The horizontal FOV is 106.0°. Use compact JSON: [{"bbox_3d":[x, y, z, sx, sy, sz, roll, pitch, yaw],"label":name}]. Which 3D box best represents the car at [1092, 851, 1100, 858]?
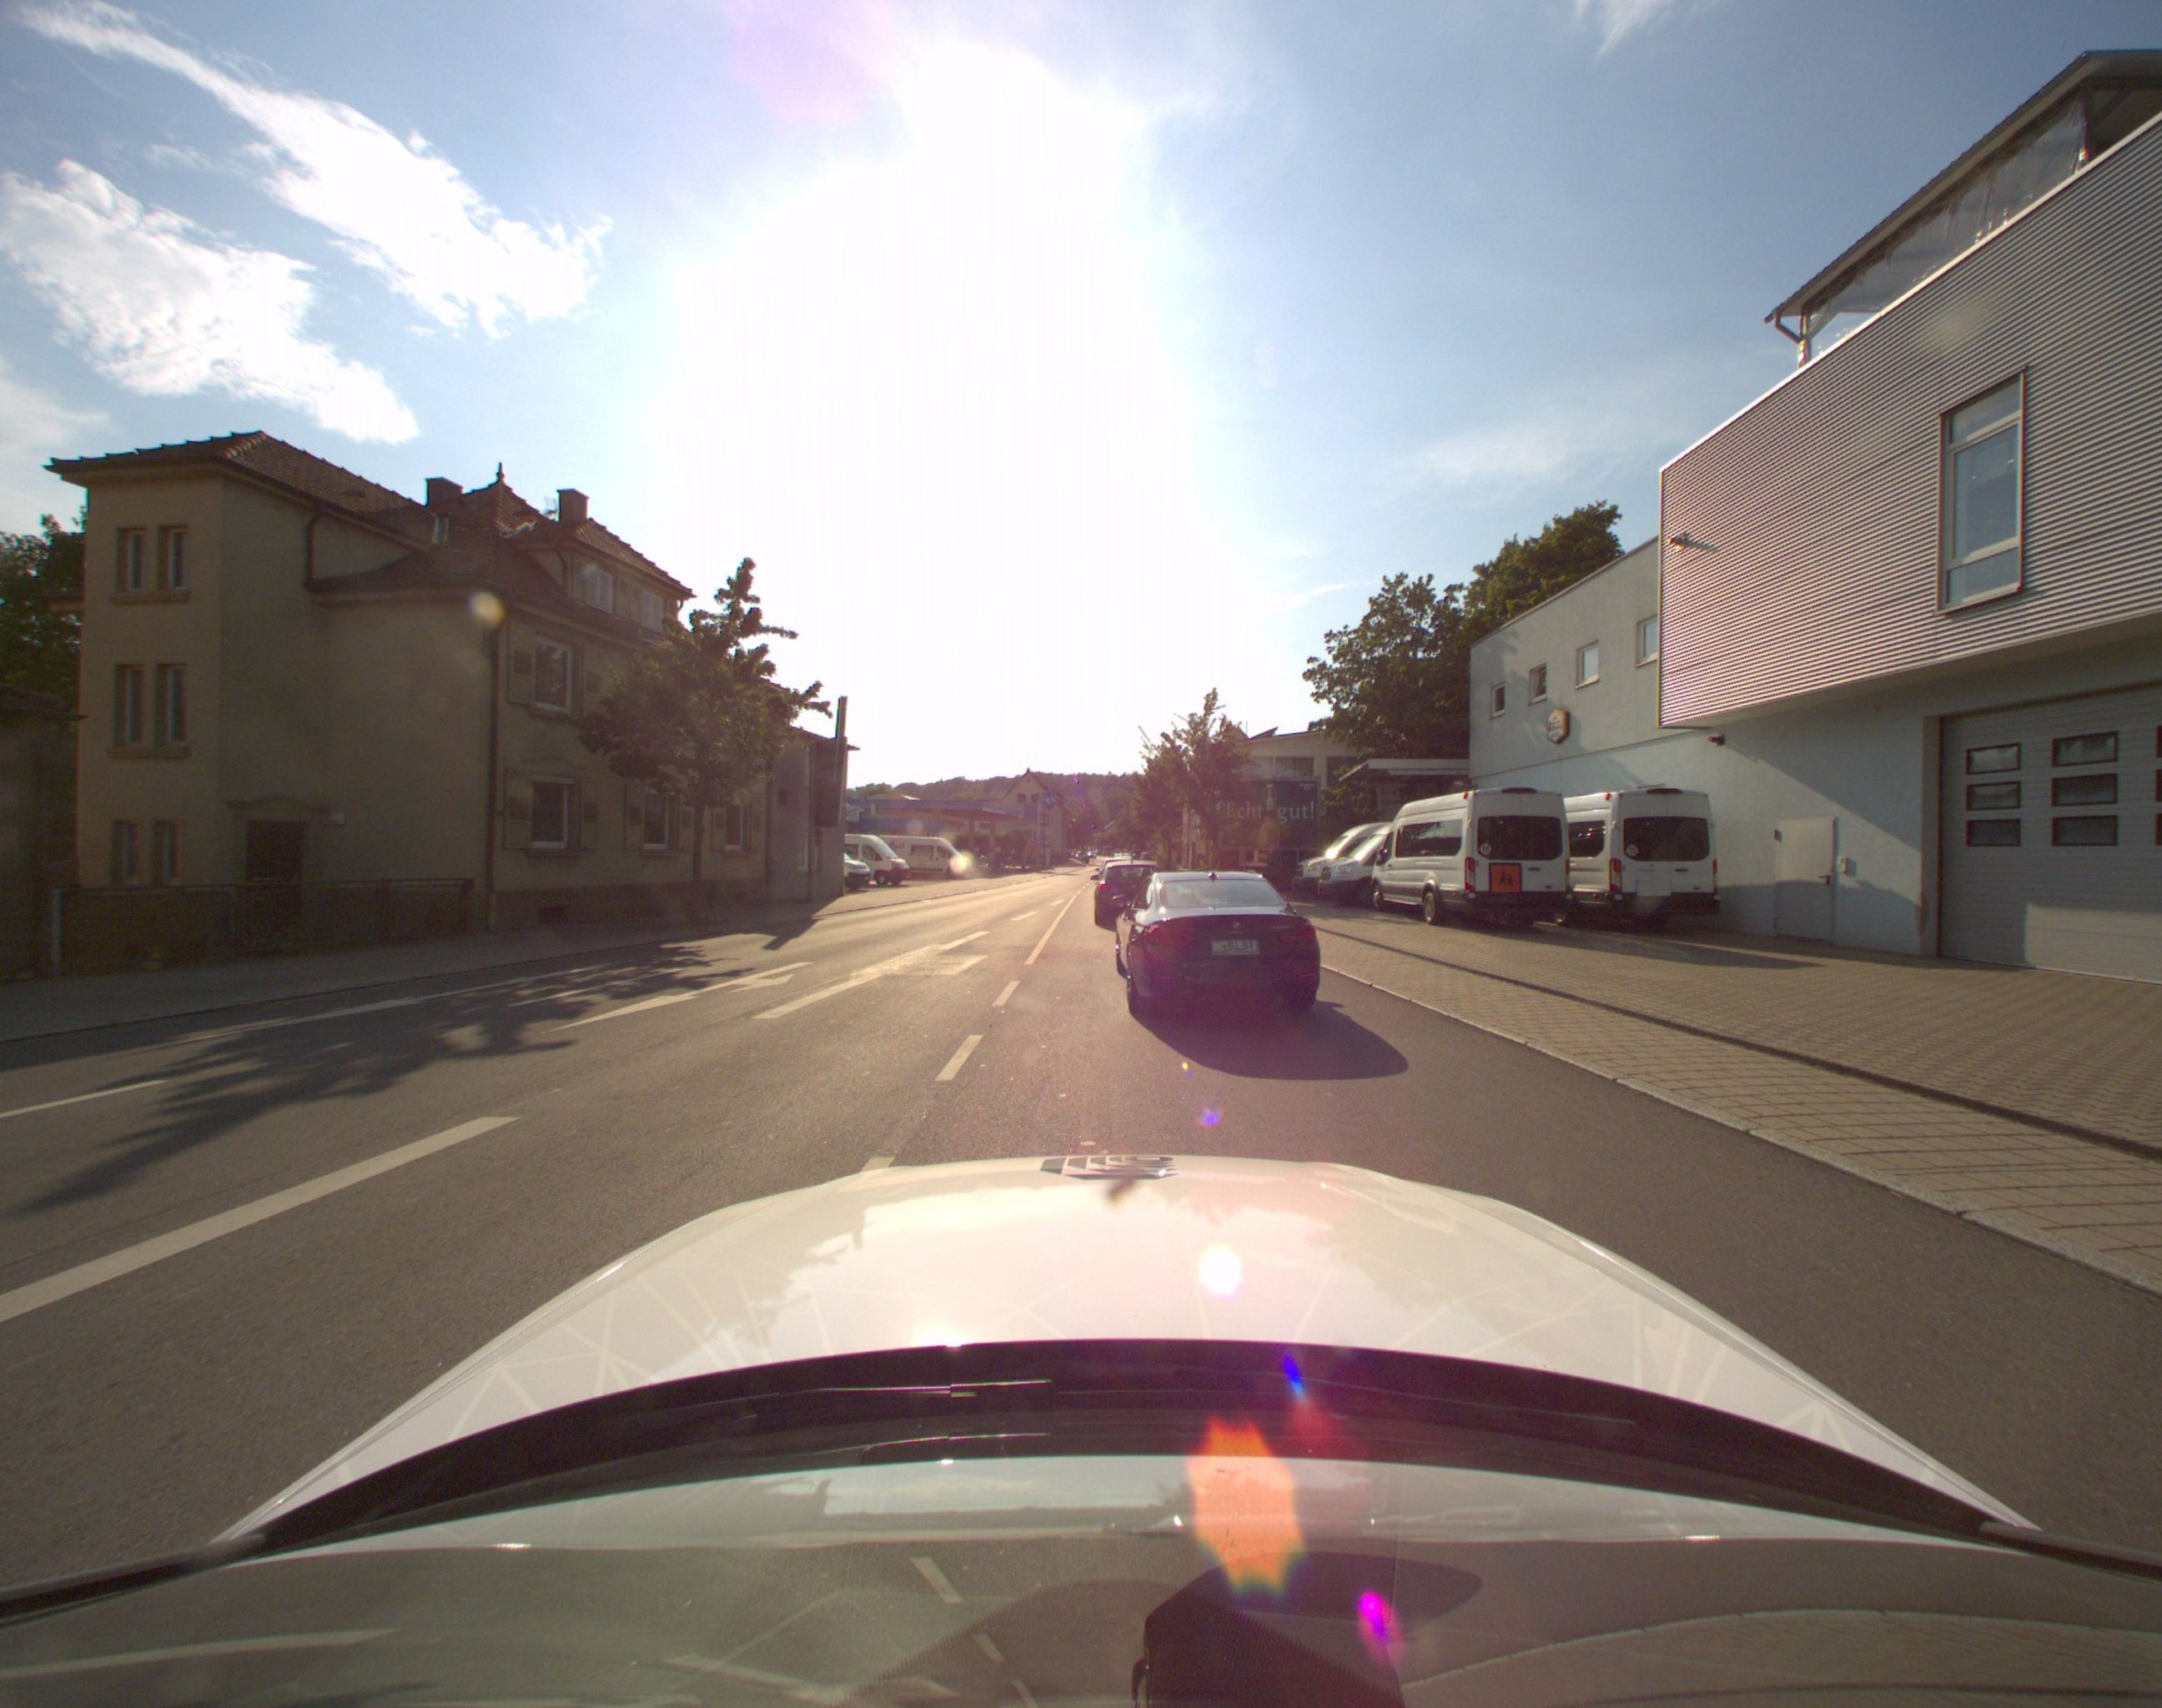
[{"bbox_3d":[2.980,0.073,163.246,1.590,1.485,3.477,1,0,2],"label":"car"}]

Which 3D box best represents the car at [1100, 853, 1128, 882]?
[{"bbox_3d":[1.936,0.756,48.123,1.585,1.600,3.896,0,0,2],"label":"car"}]

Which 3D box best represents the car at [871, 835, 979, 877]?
[{"bbox_3d":[-9.574,0.109,50.344,6.132,2.444,2.251,1,0,3],"label":"car"}]

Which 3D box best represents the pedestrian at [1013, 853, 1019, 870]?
[{"bbox_3d":[-6.466,0.719,81.145,0.608,1.670,0.442,0,0,0],"label":"pedestrian"}]

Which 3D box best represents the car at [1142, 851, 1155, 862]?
[{"bbox_3d":[9.556,0.326,115.135,1.590,1.485,3.477,1,0,2],"label":"car"}]

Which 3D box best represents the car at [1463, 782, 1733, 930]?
[{"bbox_3d":[11.030,0.021,18.220,2.103,2.722,6.445,0,0,2],"label":"car"}]

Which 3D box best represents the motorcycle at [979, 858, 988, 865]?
[{"bbox_3d":[-9.759,0.753,81.389,0.456,0.730,1.478,0,0,10],"label":"motorcycle"}]

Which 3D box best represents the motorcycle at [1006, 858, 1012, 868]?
[{"bbox_3d":[-7.124,0.926,80.831,0.362,0.943,1.696,0,0,2],"label":"motorcycle"}]

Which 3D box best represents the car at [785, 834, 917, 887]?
[{"bbox_3d":[-11.401,0.285,40.639,5.887,2.480,2.198,1,0,7],"label":"car"}]

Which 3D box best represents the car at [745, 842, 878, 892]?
[{"bbox_3d":[-11.401,0.531,34.588,4.951,1.999,1.938,1,0,5],"label":"car"}]

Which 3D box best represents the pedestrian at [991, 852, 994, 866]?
[{"bbox_3d":[-8.680,0.450,79.903,0.286,1.366,0.263,0,0,-1],"label":"pedestrian"}]

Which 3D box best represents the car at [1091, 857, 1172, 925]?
[{"bbox_3d":[1.230,0.809,19.453,1.763,1.456,3.520,0,0,4],"label":"car"}]

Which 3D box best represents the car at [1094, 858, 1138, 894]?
[{"bbox_3d":[1.521,0.887,34.541,1.746,1.414,3.426,0,0,4],"label":"car"}]

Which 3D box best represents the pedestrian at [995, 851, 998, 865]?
[{"bbox_3d":[-8.376,0.420,80.532,0.261,1.383,0.288,0,0,-1],"label":"pedestrian"}]

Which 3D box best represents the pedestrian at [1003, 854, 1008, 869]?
[{"bbox_3d":[-7.542,0.762,81.297,0.406,1.547,0.433,0,0,0],"label":"pedestrian"}]

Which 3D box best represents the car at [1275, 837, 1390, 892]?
[{"bbox_3d":[8.861,0.359,28.888,3.588,1.894,1.586,0,0,0],"label":"car"}]

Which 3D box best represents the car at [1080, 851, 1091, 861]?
[{"bbox_3d":[0.696,0.258,127.910,1.590,1.485,3.477,1,0,2],"label":"car"}]

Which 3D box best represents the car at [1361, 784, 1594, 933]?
[{"bbox_3d":[8.302,0.061,18.026,2.141,2.680,6.606,0,0,2],"label":"car"}]

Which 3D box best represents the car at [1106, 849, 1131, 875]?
[{"bbox_3d":[2.674,0.534,58.272,1.595,1.767,3.416,0,0,5],"label":"car"}]

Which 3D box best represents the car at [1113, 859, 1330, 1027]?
[{"bbox_3d":[1.310,0.791,9.215,1.694,1.369,4.261,-1,0,0],"label":"car"}]

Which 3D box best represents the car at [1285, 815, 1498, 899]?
[{"bbox_3d":[9.748,0.091,25.932,6.023,2.516,2.044,0,0,0],"label":"car"}]

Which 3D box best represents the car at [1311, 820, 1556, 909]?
[{"bbox_3d":[9.785,0.276,22.971,6.023,2.363,2.044,0,0,0],"label":"car"}]
